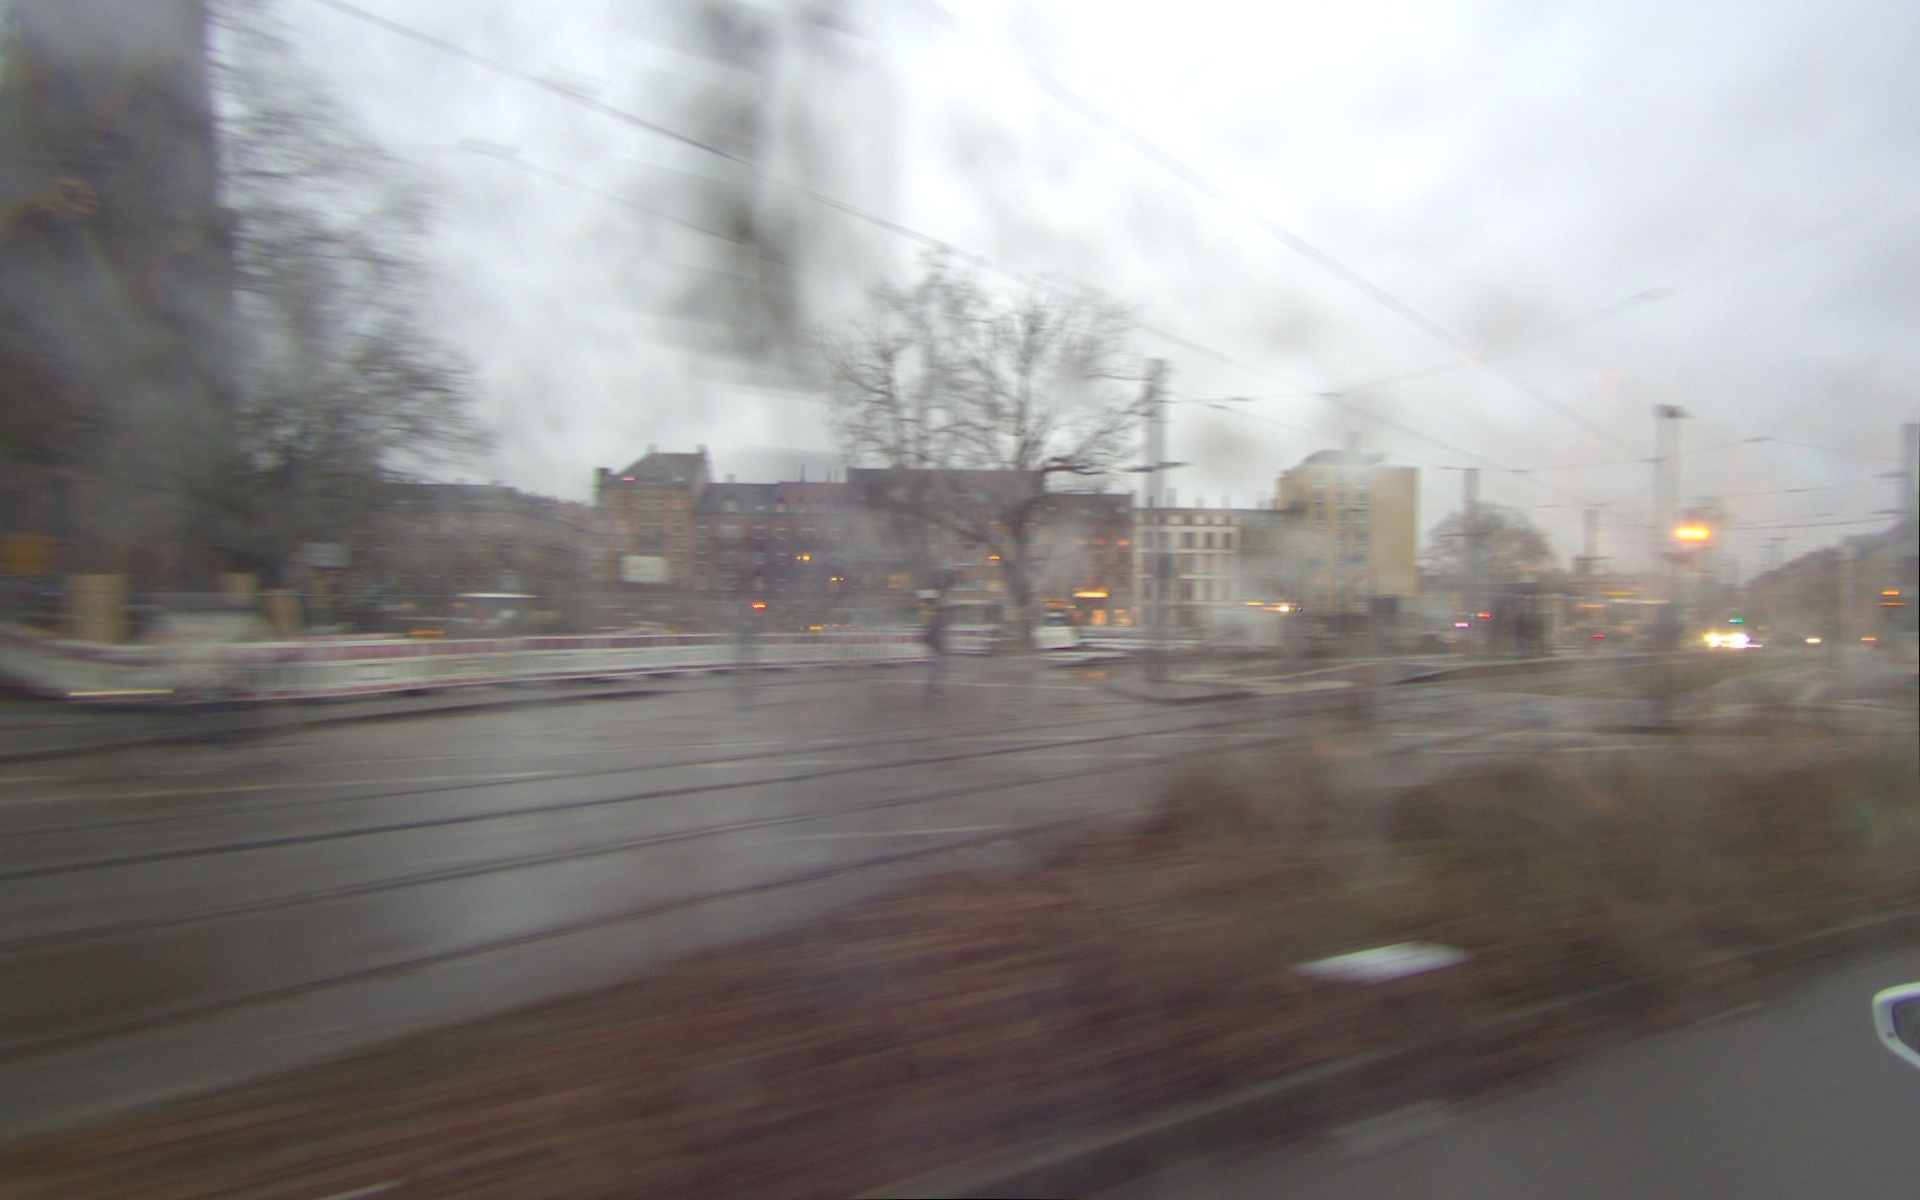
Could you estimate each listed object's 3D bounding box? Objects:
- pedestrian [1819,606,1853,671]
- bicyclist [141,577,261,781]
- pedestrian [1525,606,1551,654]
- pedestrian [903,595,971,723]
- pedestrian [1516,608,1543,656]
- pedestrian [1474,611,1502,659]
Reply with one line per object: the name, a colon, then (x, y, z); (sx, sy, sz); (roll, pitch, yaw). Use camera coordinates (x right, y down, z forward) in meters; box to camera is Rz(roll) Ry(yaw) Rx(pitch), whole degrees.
pedestrian: (25.485, 1.108, 29.226); (0.820, 1.837, 0.597); (2, 1, -44)
bicyclist: (-6.977, 0.702, 9.255); (0.578, 1.791, 0.612); (3, 1, -1)
pedestrian: (22.817, 1.179, 39.655); (0.712, 1.830, 0.705); (2, 0, -44)
pedestrian: (-0.462, 1.137, 19.650); (1.046, 2.402, 0.994); (2, 1, -14)
pedestrian: (22.051, 1.229, 38.898); (0.712, 1.830, 0.705); (2, 0, -44)
pedestrian: (19.973, 1.322, 38.006); (0.712, 1.780, 0.705); (2, 0, -44)
